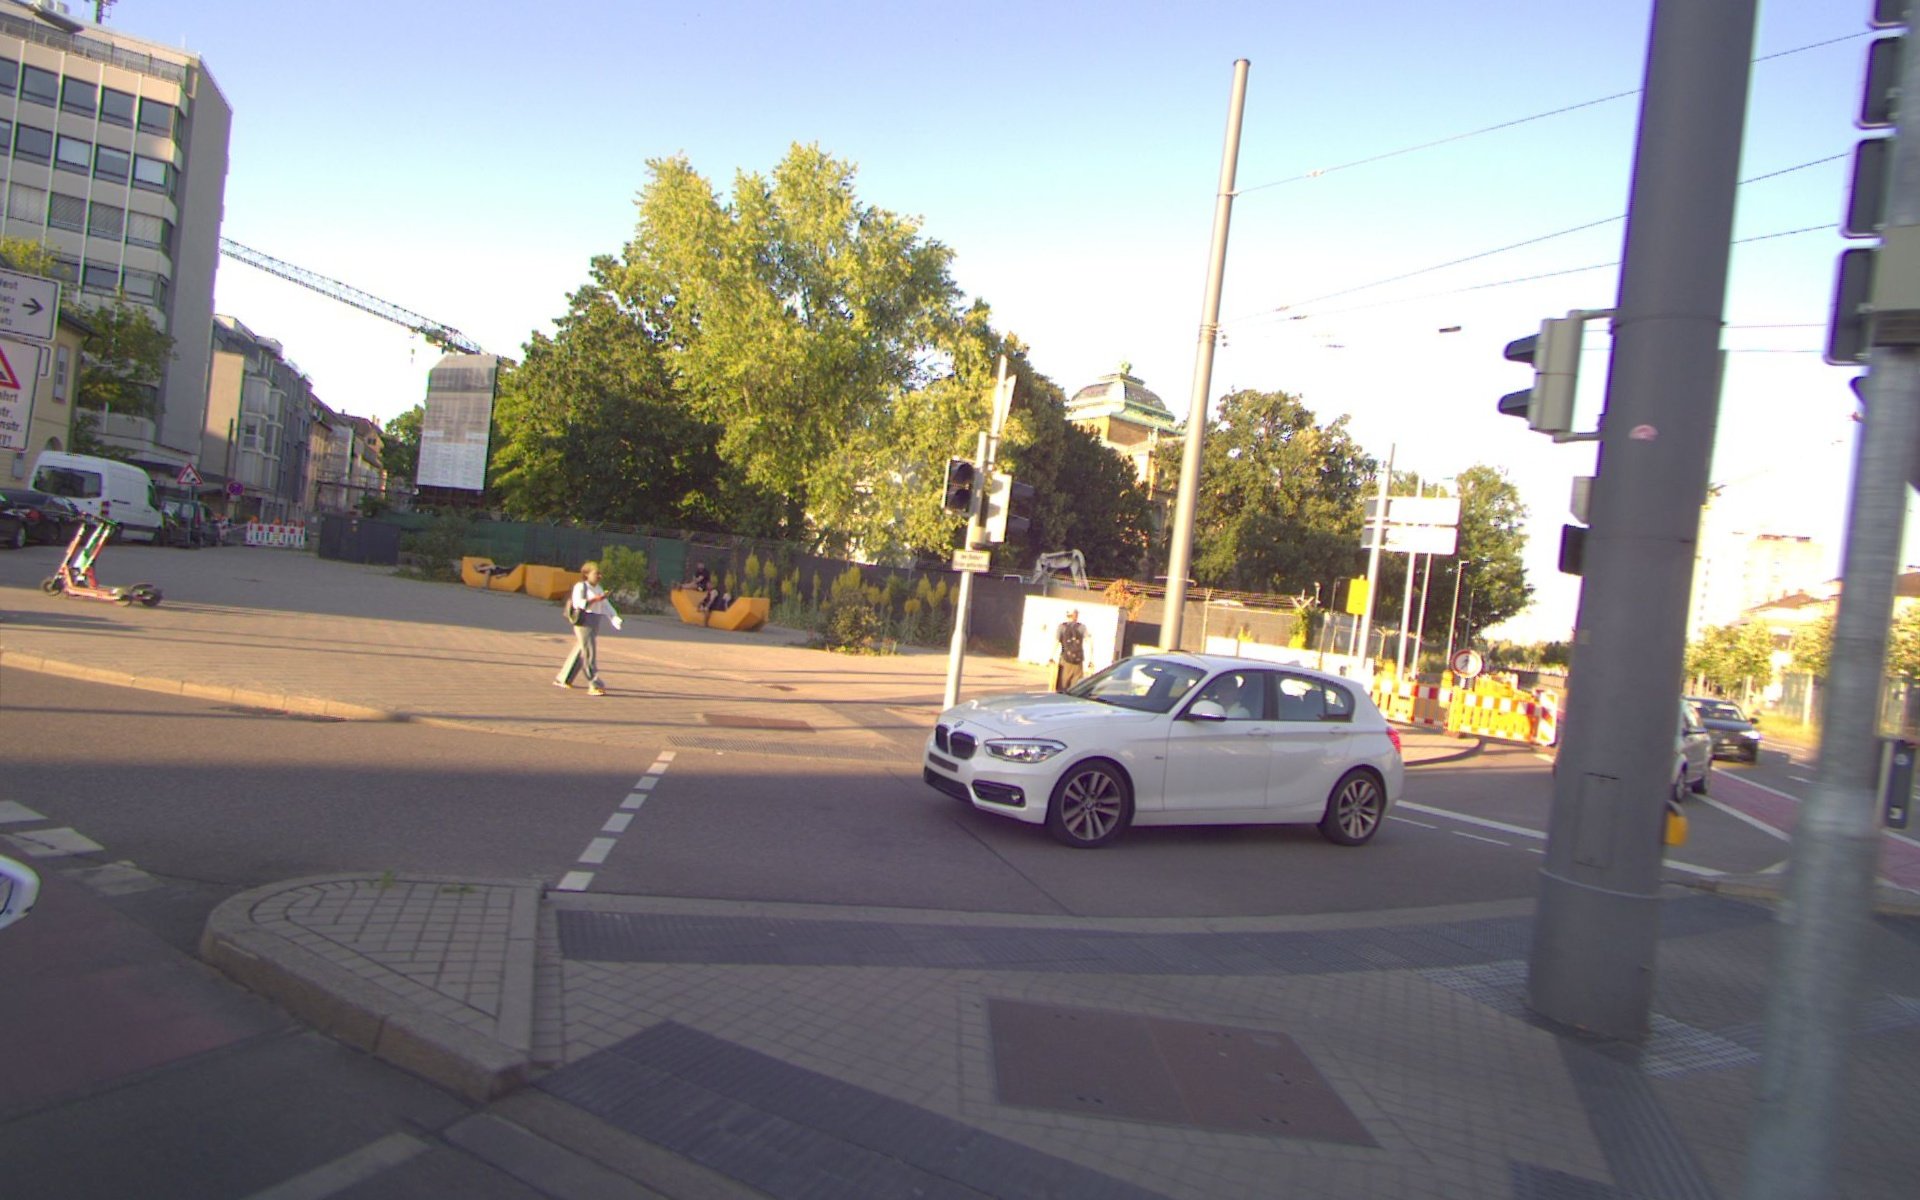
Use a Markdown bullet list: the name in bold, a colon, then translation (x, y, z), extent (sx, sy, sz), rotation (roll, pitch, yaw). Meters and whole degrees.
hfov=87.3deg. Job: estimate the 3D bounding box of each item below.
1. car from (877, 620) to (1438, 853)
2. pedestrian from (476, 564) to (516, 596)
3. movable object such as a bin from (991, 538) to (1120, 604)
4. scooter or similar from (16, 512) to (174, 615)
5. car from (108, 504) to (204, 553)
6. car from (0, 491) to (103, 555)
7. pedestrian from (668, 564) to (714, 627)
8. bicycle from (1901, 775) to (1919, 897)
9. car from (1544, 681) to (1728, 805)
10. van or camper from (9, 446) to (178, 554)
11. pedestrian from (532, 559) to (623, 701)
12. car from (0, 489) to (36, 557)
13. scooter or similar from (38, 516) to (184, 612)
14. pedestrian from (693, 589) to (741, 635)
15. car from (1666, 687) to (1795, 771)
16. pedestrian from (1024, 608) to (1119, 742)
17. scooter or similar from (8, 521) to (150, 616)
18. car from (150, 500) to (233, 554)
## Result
- **car**: translation (1.684, 1.118, 8.375), extent (4.253, 1.423, 1.903), rotation (6, 0, -28)
- **pedestrian**: translation (-15.004, -0.644, 32.544), extent (0.963, 0.904, 0.562), rotation (7, 1, 11)
- **movable object such as a bin**: translation (3.454, -1.130, 37.461), extent (1.980, 2.039, 4.980), rotation (6, 0, -33)
- **scooter or similar**: translation (-12.821, -0.529, 14.960), extent (1.629, 1.308, 0.459), rotation (7, 1, -19)
- **car**: translation (-29.530, -2.577, 37.078), extent (1.676, 1.477, 4.074), rotation (7, 0, -25)
- **car**: translation (-24.773, -2.060, 26.826), extent (1.713, 1.447, 4.445), rotation (7, 0, -26)
- **pedestrian**: translation (-7.659, -0.115, 28.659), extent (0.751, 1.686, 0.820), rotation (7, 1, 32)
- **bicycle**: translation (8.484, 2.083, 8.122), extent (0.585, 1.036, 1.846), rotation (7, 0, 23)
- **car**: translation (10.837, 2.229, 16.027), extent (3.704, 1.580, 1.660), rotation (7, -2, -45)
- **van or camper**: translation (-27.230, -2.987, 31.925), extent (2.057, 2.809, 6.412), rotation (6, 0, -24)
- **pedestrian**: translation (-4.644, 0.372, 12.227), extent (0.587, 1.634, 0.687), rotation (7, 1, 34)
- **car**: translation (-22.769, -1.854, 22.598), extent (1.763, 1.562, 4.261), rotation (7, 0, -27)
- **scooter or similar**: translation (-13.034, -0.543, 15.485), extent (1.504, 1.276, 0.609), rotation (6, 1, -19)
- **pedestrian**: translation (-6.855, 0.336, 28.358), extent (0.723, 1.172, 0.988), rotation (7, 1, 32)
- **car**: translation (19.319, 3.159, 25.413), extent (1.912, 1.637, 4.383), rotation (7, 0, 31)
- **pedestrian**: translation (1.569, 1.055, 14.328), extent (0.929, 1.758, 0.819), rotation (6, 1, -15)
- **scooter or similar**: translation (-12.660, -0.445, 14.485), extent (1.384, 1.181, 0.459), rotation (6, 1, -19)
- **car**: translation (-31.424, -2.943, 41.232), extent (1.696, 1.871, 3.998), rotation (7, 0, -25)
